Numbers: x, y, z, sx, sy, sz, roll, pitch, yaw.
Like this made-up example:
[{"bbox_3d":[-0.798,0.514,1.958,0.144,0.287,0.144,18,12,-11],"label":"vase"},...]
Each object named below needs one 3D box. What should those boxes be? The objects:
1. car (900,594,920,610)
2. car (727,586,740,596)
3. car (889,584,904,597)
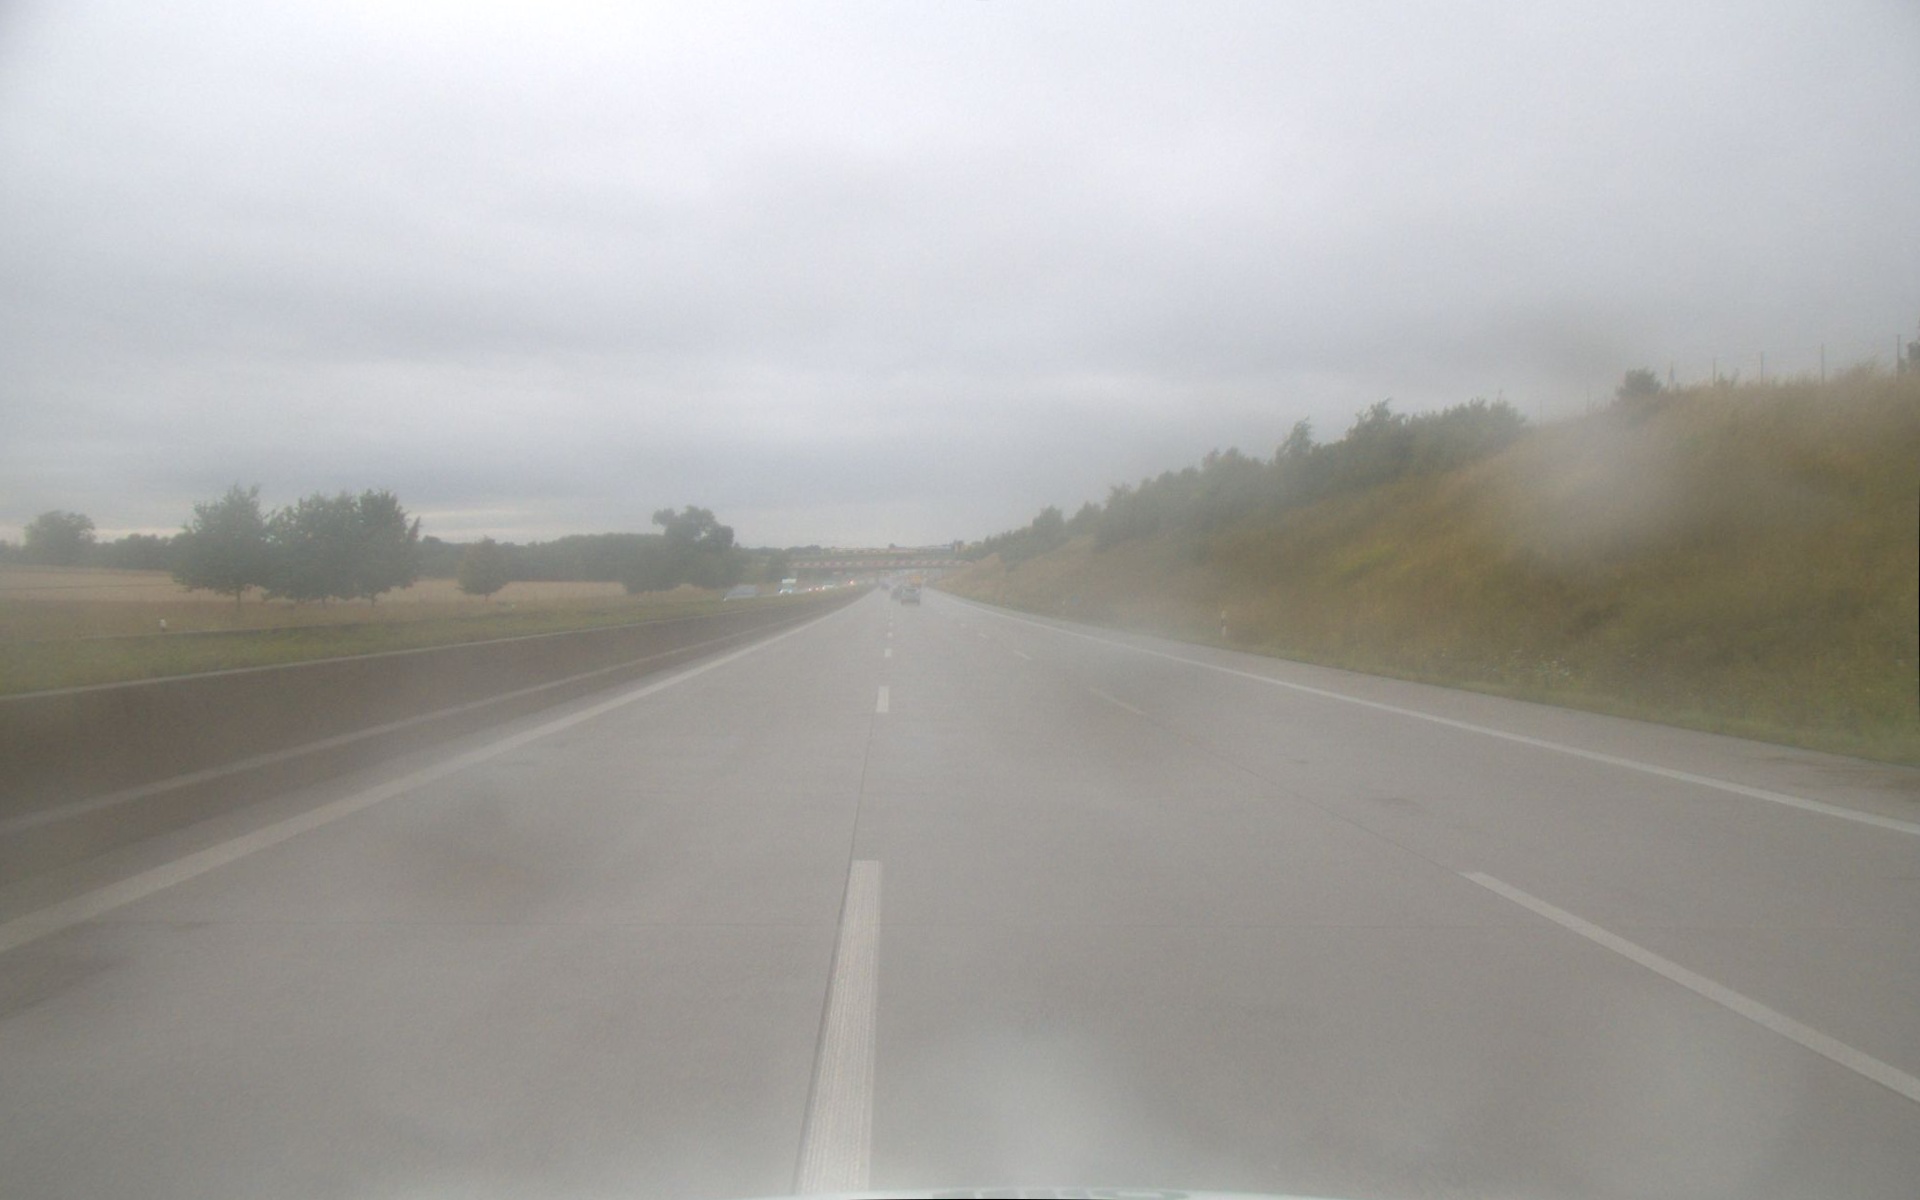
[{"bbox_3d":[-4.775,0.220,157.747,1.811,1.354,4.427,0,2,-3],"label":"car"},{"bbox_3d":[-34.045,-1.378,248.696,1.639,1.422,4.063,0,0,-3],"label":"car"},{"bbox_3d":[-7.265,-1.064,189.241,1.695,1.354,4.428,1,2,-3],"label":"car"}]
